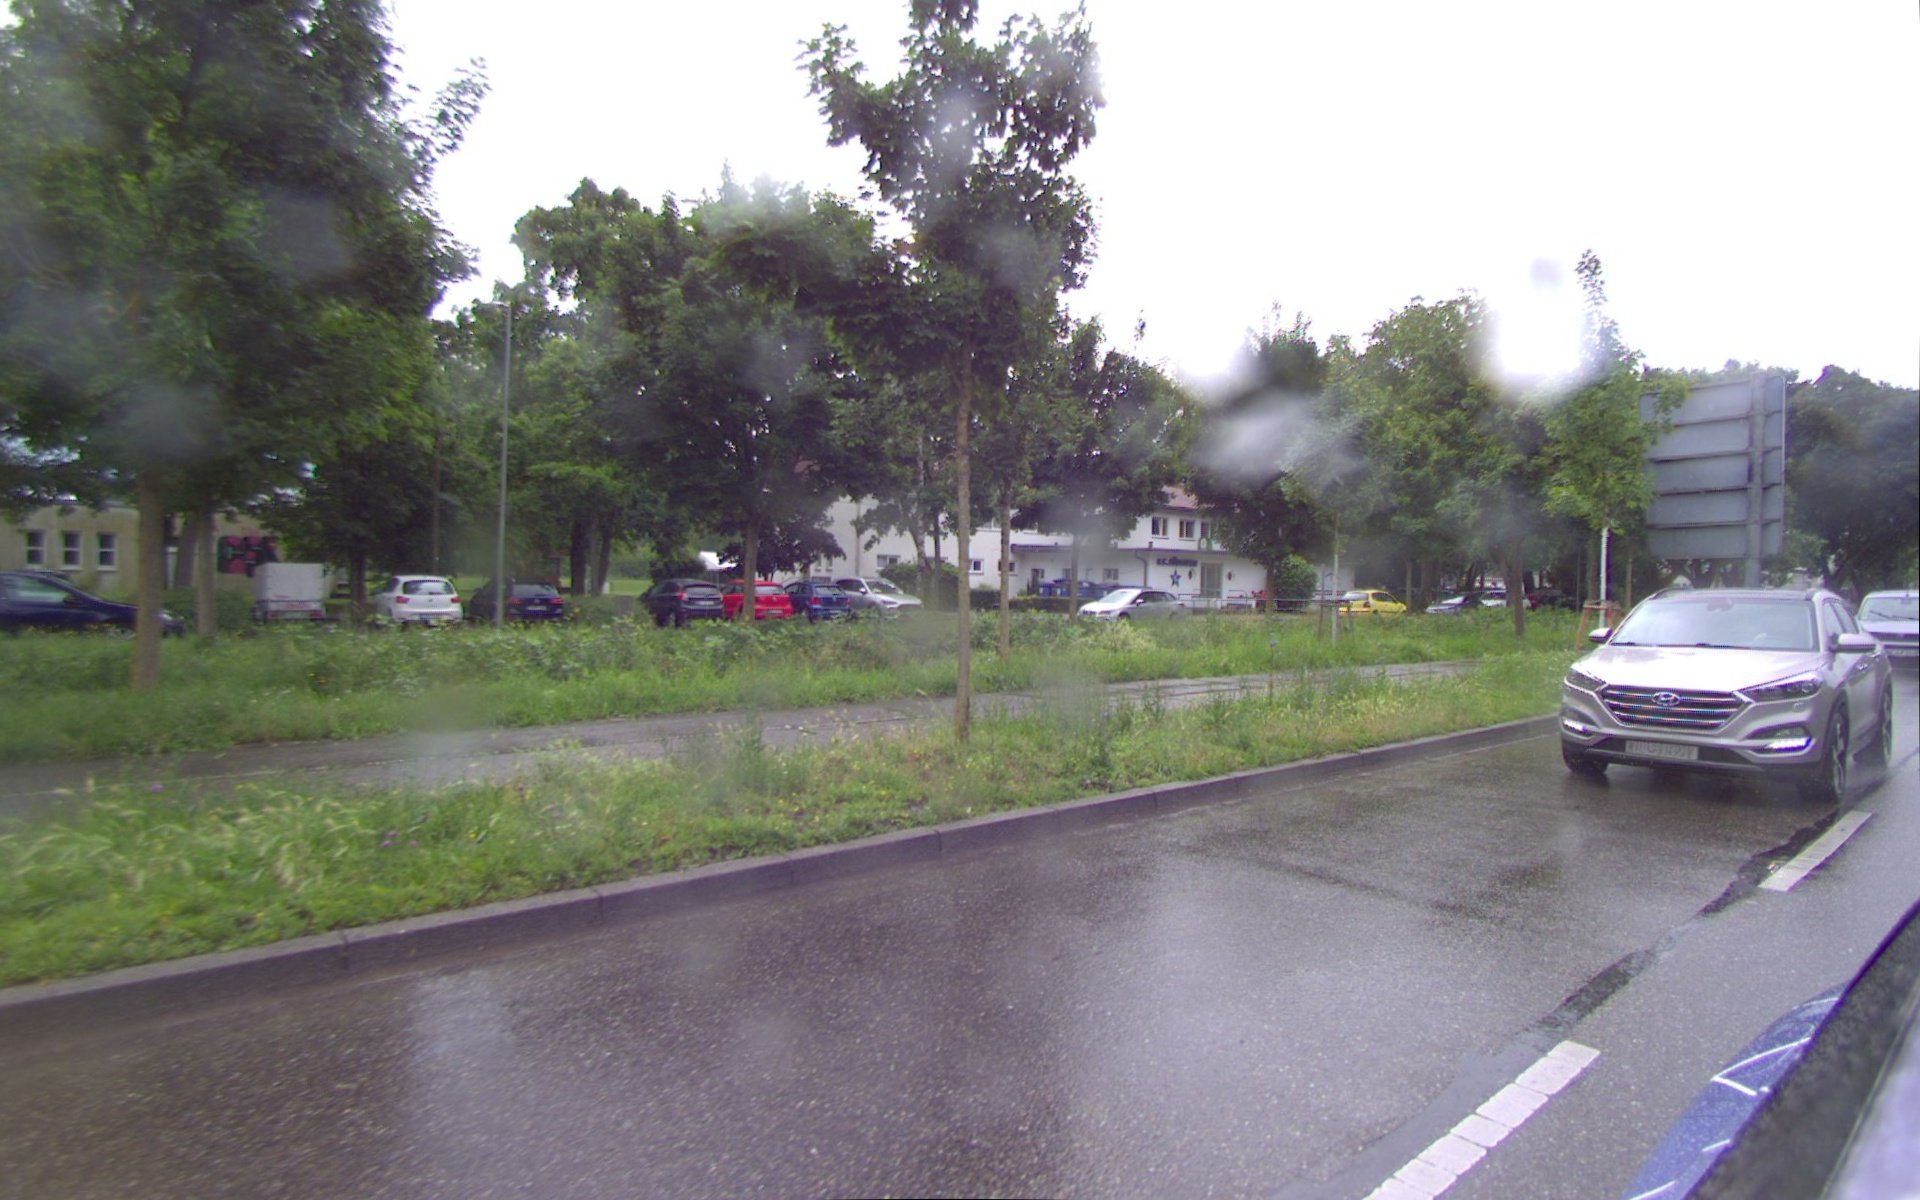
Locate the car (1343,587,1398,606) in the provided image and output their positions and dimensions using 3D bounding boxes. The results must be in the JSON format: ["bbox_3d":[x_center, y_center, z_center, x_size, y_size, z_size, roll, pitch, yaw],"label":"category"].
[{"bbox_3d":[37.473,-0.300,92.523,1.865,1.630,4.293,0,0,-38],"label":"car"}]

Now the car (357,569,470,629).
[{"bbox_3d":[-14.731,-0.016,27.164,1.731,1.503,4.194,0,0,-42],"label":"car"}]

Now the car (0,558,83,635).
[{"bbox_3d":[-20.893,-0.057,22.594,1.912,1.577,4.339,0,0,-42],"label":"car"}]

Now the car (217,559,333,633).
[{"bbox_3d":[-17.732,-0.089,26.106,1.912,1.747,4.339,0,0,-42],"label":"car"}]

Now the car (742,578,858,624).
[{"bbox_3d":[-5.613,0.043,35.106,1.912,1.503,4.339,0,0,-42],"label":"car"}]

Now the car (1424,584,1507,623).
[{"bbox_3d":[24.554,0.134,49.096,4.562,1.738,1.997,0,2,-42],"label":"car"}]

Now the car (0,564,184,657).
[{"bbox_3d":[-15.533,0.155,16.861,4.044,1.464,1.750,2,0,-37],"label":"car"}]

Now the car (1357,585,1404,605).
[{"bbox_3d":[29.074,-0.329,69.911,3.639,1.332,1.574,0,0,-42],"label":"car"}]

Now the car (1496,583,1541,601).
[{"bbox_3d":[61.517,-0.845,111.512,1.885,1.989,4.203,0,0,-18],"label":"car"}]

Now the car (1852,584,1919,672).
[{"bbox_3d":[21.397,0.570,22.311,4.482,1.818,1.997,0,0,-40],"label":"car"}]

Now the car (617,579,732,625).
[{"bbox_3d":[-9.065,0.075,31.955,1.836,1.357,4.184,0,0,-42],"label":"car"}]

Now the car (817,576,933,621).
[{"bbox_3d":[-3.077,-0.049,36.036,1.891,1.522,4.339,0,0,-42],"label":"car"}]

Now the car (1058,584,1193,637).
[{"bbox_3d":[5.667,0.319,34.314,4.559,1.645,1.998,0,2,-40],"label":"car"}]

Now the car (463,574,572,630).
[{"bbox_3d":[-12.556,0.058,28.575,1.758,1.478,4.139,0,0,-39],"label":"car"}]

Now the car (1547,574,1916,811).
[{"bbox_3d":[7.031,0.605,9.063,4.123,1.630,1.887,-1,1,-42],"label":"car"}]

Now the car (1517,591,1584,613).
[{"bbox_3d":[41.119,0.131,70.549,3.681,1.467,1.670,-1,0,0],"label":"car"}]

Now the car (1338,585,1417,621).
[{"bbox_3d":[18.342,0.116,44.388,4.003,1.505,1.639,0,0,-42],"label":"car"}]

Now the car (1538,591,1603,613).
[{"bbox_3d":[40.684,0.135,67.493,3.329,1.369,1.523,-1,0,5],"label":"car"}]

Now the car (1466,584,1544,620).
[{"bbox_3d":[28.446,0.077,52.760,4.794,1.738,1.997,0,2,-42],"label":"car"}]

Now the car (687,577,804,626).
[{"bbox_3d":[-7.198,0.059,33.665,1.912,1.503,4.339,0,0,-42],"label":"car"}]
